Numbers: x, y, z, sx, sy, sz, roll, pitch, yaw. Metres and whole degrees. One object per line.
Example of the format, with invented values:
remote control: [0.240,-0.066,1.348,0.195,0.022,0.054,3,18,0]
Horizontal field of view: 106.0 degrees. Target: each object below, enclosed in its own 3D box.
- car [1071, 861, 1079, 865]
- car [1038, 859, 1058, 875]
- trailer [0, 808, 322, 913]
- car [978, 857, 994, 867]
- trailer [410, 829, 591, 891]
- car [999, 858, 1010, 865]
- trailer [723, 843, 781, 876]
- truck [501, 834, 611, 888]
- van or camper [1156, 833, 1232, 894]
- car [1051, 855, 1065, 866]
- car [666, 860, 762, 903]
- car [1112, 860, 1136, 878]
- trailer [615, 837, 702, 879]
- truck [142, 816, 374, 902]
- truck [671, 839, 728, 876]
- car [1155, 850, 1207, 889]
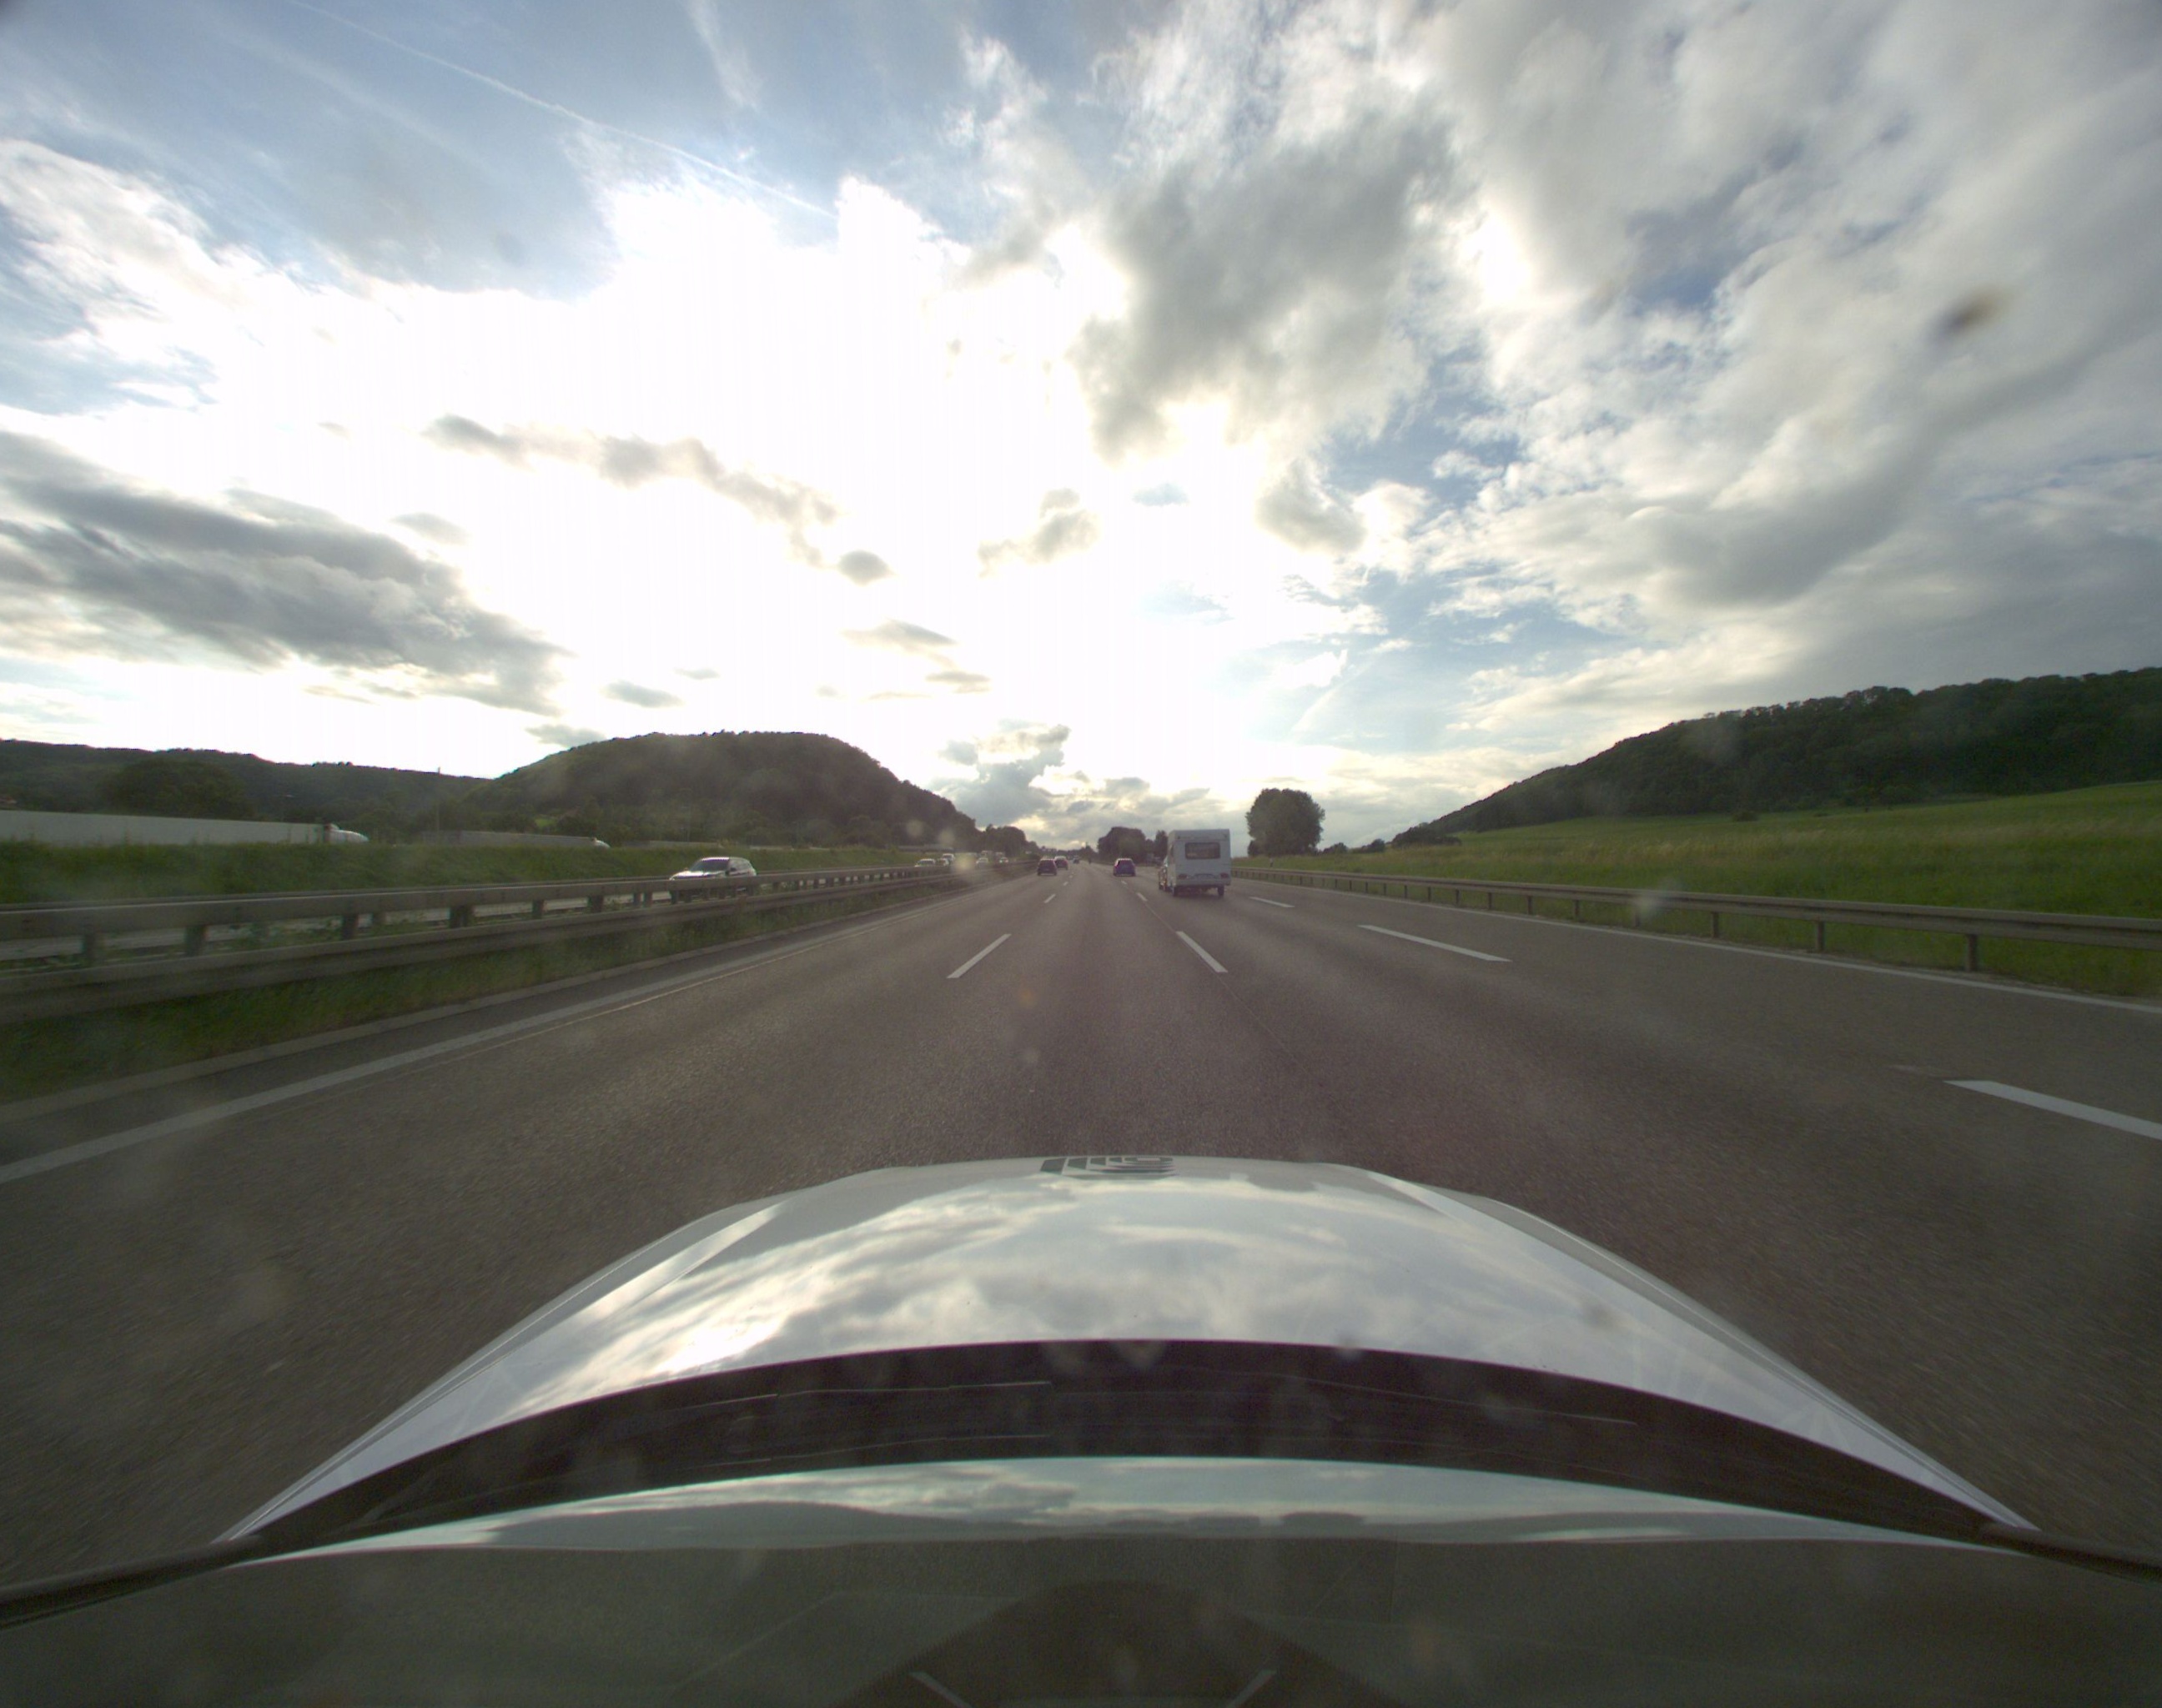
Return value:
car: [-1.660,2.499,229.525,1.748,1.222,3.992,-1,0,-5]
car: [-2.909,1.147,72.608,1.532,1.348,3.679,-1,0,2]
trailer: [-39.749,0.281,34.400,2.869,3.696,13.666,-1,0,-2]
car: [-14.538,1.195,124.783,1.945,1.475,3.871,-1,0,-1]
trailer: [-39.833,0.481,56.910,2.868,3.696,13.671,-2,-1,0]
car: [-16.463,1.544,175.235,1.945,1.448,3.871,-1,0,-1]
trailer: [-40.253,0.656,100.222,2.868,3.696,10.370,-2,0,0]
truck: [-39.850,0.571,62.233,2.873,3.691,8.489,-2,-1,-1]
van or camper: [4.414,0.414,32.782,2.538,2.239,5.331,0,-1,2]
car: [-2.939,0.889,105.913,1.559,1.380,4.001,-1,0,2]
car: [-14.734,1.114,32.945,1.800,1.614,4.342,0,-2,1]
car: [3.523,1.220,67.051,1.761,1.433,3.999,-2,-1,0]
trailer: [-40.204,0.371,78.012,2.868,3.696,10.370,-2,0,0]
truck: [-39.891,0.289,40.076,2.873,3.691,8.488,-2,-1,-1]
truck: [-40.259,0.403,86.157,2.873,3.690,6.589,-2,0,-1]
car: [4.501,0.680,37.133,1.781,1.652,4.479,0,0,-1]
